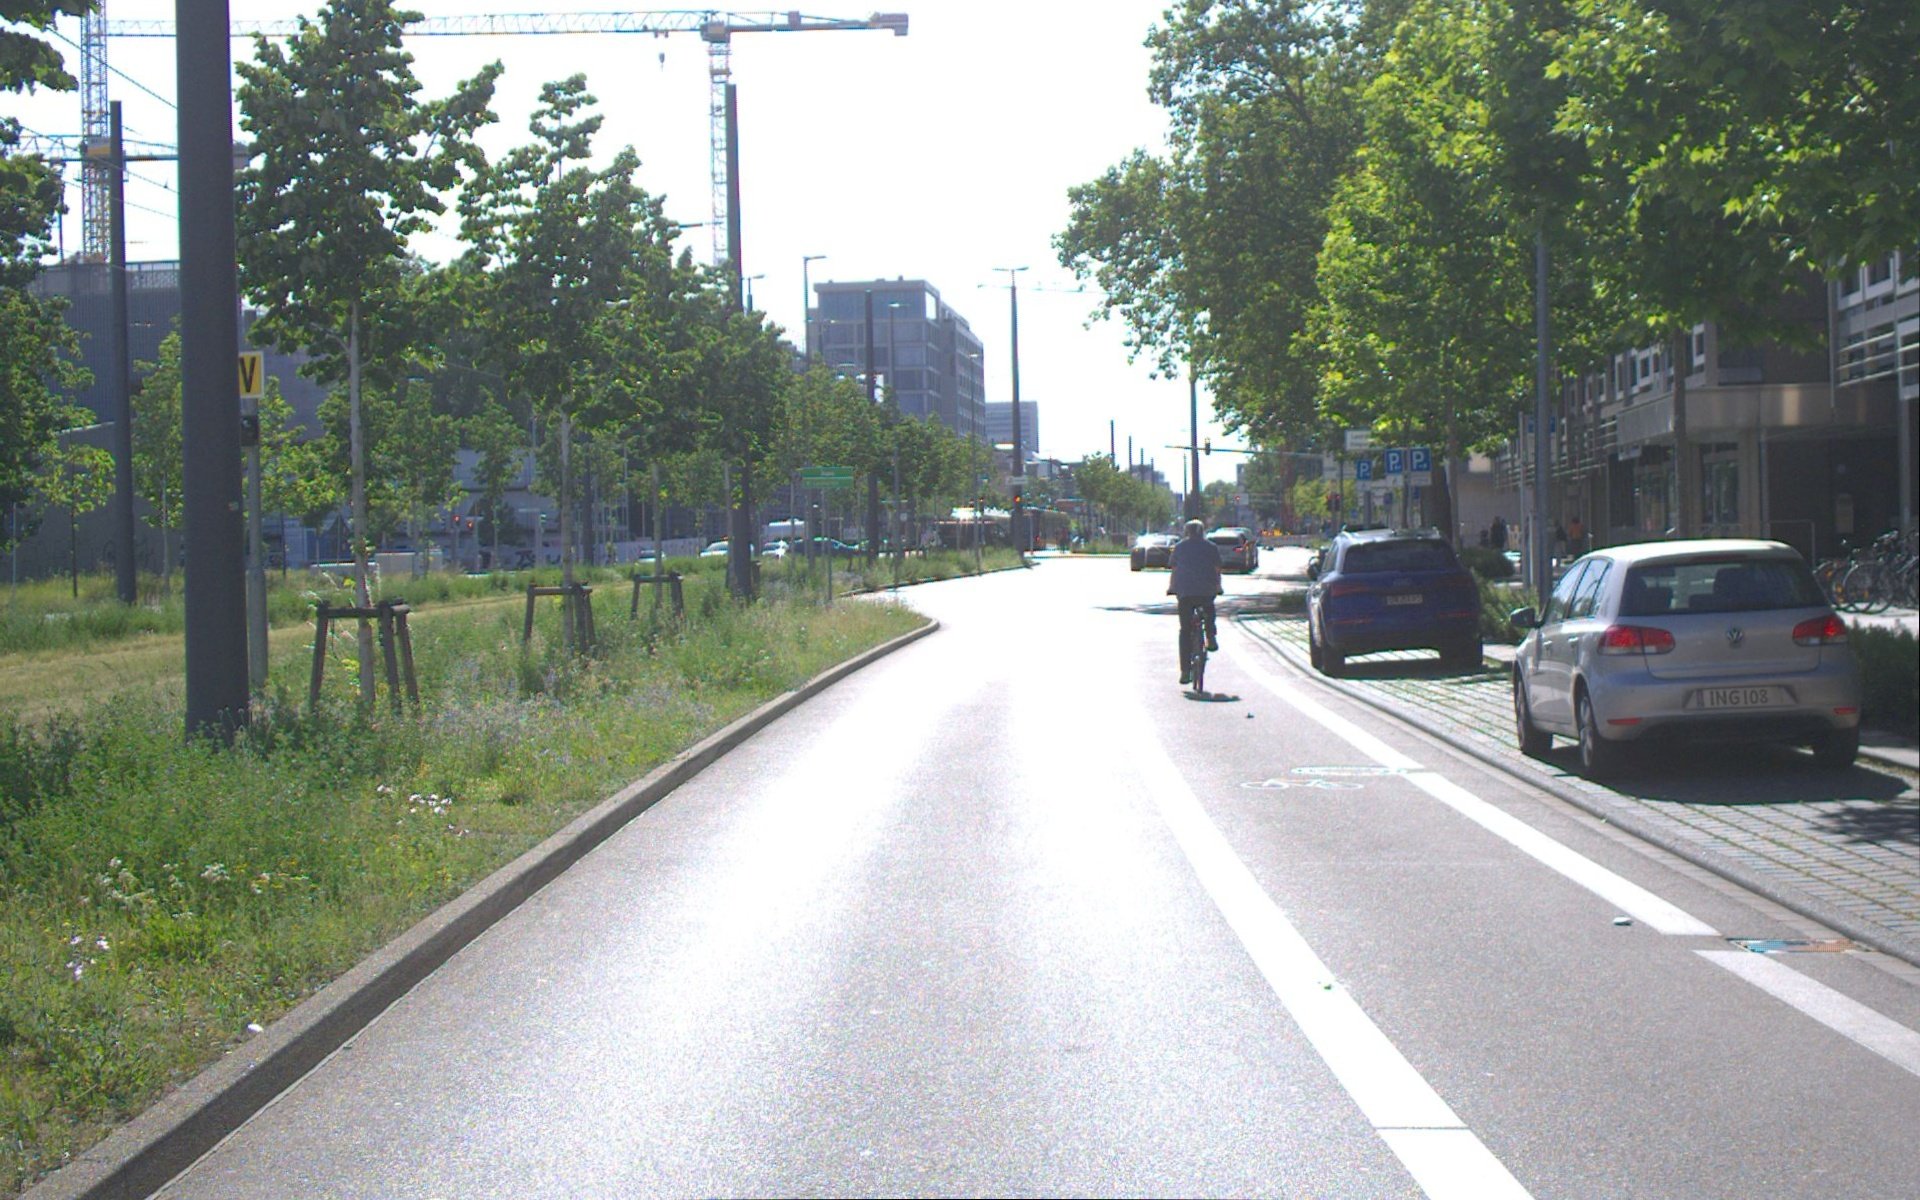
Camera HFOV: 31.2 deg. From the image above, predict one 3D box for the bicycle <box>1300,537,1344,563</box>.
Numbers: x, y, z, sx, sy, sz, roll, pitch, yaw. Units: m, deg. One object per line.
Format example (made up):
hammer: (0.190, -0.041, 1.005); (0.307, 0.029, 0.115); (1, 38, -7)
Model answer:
bicycle: (14.467, -2.001, 137.319); (1.693, 0.954, 0.478); (-2, 1, 2)

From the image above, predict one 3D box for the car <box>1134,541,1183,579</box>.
car: (8.207, -1.677, 141.850); (1.912, 1.481, 4.009); (-1, 1, 4)

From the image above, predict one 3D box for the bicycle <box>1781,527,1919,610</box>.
bicycle: (12.956, -0.460, 50.044); (1.858, 1.094, 0.426); (-3, 1, 7)

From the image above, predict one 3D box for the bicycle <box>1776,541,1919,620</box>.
bicycle: (12.555, -0.280, 48.660); (1.858, 1.007, 0.426); (-3, 1, 7)

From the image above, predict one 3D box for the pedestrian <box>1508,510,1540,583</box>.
pedestrian: (11.518, -1.098, 70.226); (0.511, 1.469, 0.736); (-3, 1, 5)

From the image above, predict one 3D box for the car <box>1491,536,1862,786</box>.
car: (4.744, 0.339, 23.306); (1.618, 1.460, 4.155); (-3, 1, 0)

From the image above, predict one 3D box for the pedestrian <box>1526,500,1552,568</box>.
pedestrian: (14.832, -1.696, 88.051); (0.511, 1.695, 0.774); (-3, 1, 5)

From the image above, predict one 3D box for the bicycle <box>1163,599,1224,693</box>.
bicycle: (2.434, 0.470, 35.950); (0.497, 0.902, 2.197); (1, 1, 1)

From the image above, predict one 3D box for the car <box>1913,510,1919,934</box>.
car: (4.649, 0.504, 11.198); (1.747, 1.653, 4.470); (-1, 1, -1)

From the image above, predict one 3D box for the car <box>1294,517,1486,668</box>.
car: (5.155, -0.138, 41.775); (1.849, 1.651, 4.848); (-3, 1, 2)

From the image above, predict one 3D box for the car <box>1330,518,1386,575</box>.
car: (13.427, -1.814, 116.174); (1.704, 1.784, 4.191); (-3, 1, 6)

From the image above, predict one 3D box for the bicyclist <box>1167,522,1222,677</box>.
bicyclist: (2.447, -0.006, 35.888); (0.512, 1.595, 0.536); (-1, 1, 1)

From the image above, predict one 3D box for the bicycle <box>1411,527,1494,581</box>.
bicycle: (12.411, -1.171, 86.688); (1.937, 1.232, 0.579); (-4, 1, 3)

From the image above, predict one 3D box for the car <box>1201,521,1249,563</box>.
car: (10.633, -2.338, 137.756); (1.722, 1.612, 4.185); (-1, 1, 7)

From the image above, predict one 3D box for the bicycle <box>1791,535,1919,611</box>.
bicycle: (12.443, -0.375, 47.359); (1.858, 0.935, 0.426); (-3, 1, 7)

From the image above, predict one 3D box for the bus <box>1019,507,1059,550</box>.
bus: (5.756, -5.108, 248.540); (2.628, 2.949, 9.898); (1, 0, 3)

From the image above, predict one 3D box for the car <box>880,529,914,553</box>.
car: (-3.187, -2.964, 174.123); (1.376, 1.174, 3.220); (1, 0, 5)
